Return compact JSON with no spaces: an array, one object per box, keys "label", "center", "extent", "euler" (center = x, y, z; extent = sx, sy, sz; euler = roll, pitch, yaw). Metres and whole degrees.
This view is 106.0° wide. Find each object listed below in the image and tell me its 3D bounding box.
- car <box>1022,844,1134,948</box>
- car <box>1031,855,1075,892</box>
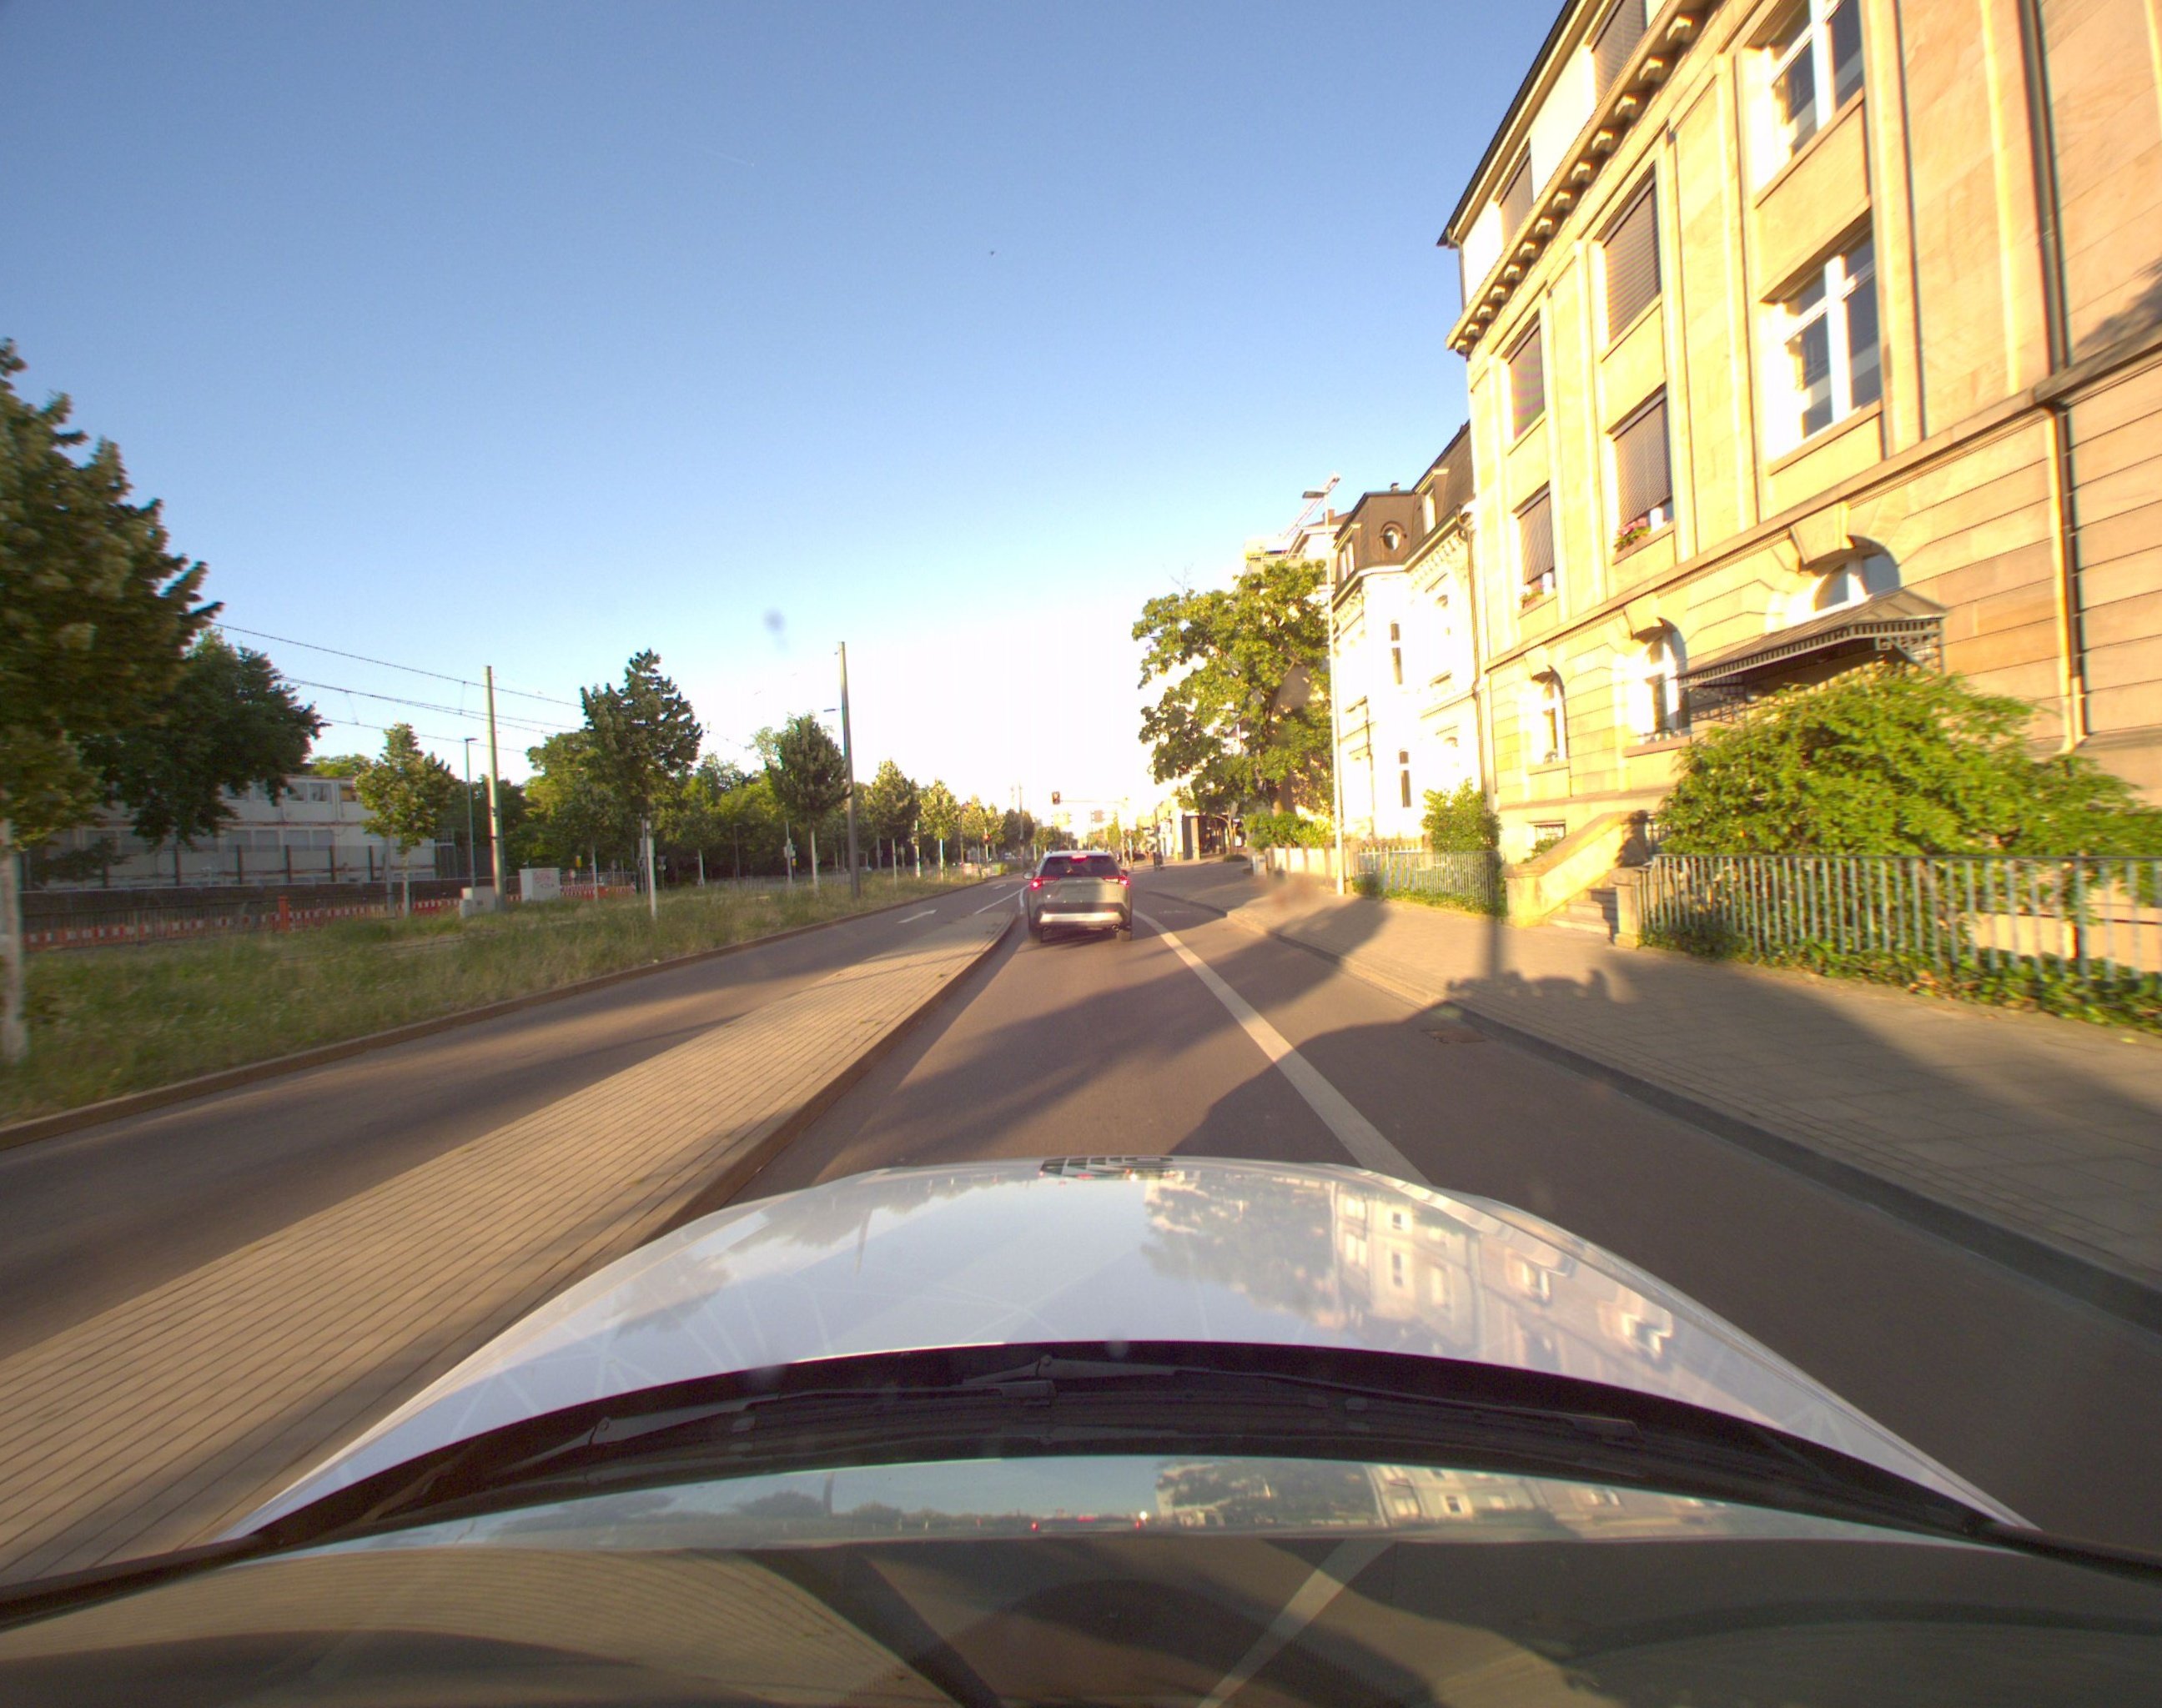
[{"label":"car","center":[-0.047,0.701,15.822],"extent":[1.852,1.714,4.191],"euler":[-1,0,0]},{"label":"car","center":[-1.239,0.871,37.540],"extent":[1.852,1.551,4.108],"euler":[-1,0,0]}]
